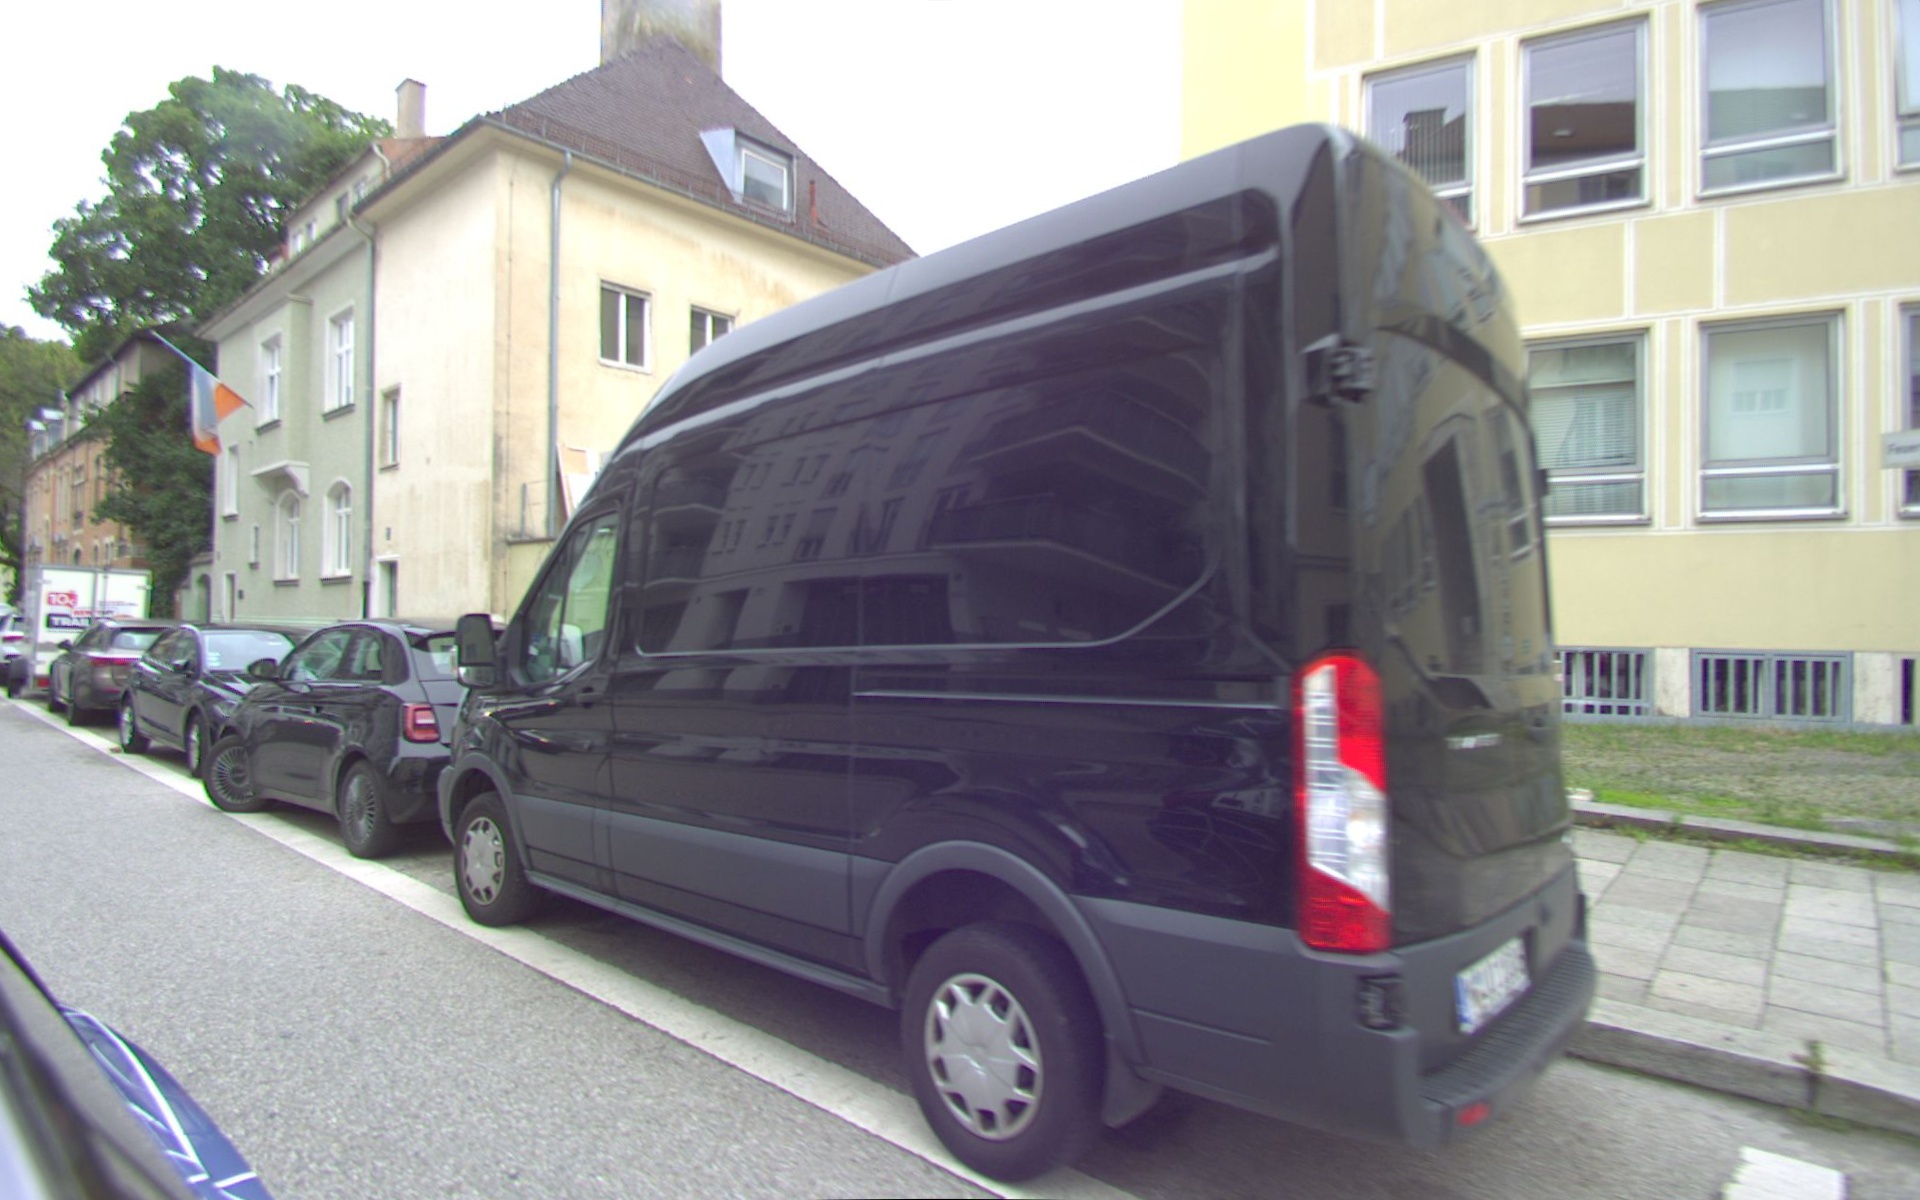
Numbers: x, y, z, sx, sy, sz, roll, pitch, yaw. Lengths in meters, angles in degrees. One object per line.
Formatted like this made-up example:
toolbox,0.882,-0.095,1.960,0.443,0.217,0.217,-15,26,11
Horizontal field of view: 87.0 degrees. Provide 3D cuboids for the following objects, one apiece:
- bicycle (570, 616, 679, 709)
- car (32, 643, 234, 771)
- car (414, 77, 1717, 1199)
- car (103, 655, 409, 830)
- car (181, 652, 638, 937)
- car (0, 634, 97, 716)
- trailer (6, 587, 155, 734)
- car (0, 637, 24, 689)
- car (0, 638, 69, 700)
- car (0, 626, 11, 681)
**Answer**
bicycle,-4.717,0.847,14.168,1.777,1.201,0.670,-2,-1,43
car,-12.373,1.455,15.030,4.542,1.550,1.747,-1,-3,44
car,-0.257,0.494,4.345,5.376,2.656,2.065,-2,-2,43
car,-7.618,1.365,10.825,3.820,1.457,1.684,-2,-1,39
car,-4.177,1.215,7.533,3.534,1.550,1.572,-1,-1,34
car,-20.695,1.606,22.520,3.919,1.615,1.669,0,-3,41
trailer,-16.813,1.111,19.264,4.387,2.480,1.690,-2,-4,44
car,-28.821,1.831,29.771,3.311,1.478,1.458,-1,-3,40
car,-24.846,1.742,26.258,4.329,1.423,1.842,-1,-3,39
car,-33.449,1.782,34.076,4.142,1.817,1.672,-2,-3,40
